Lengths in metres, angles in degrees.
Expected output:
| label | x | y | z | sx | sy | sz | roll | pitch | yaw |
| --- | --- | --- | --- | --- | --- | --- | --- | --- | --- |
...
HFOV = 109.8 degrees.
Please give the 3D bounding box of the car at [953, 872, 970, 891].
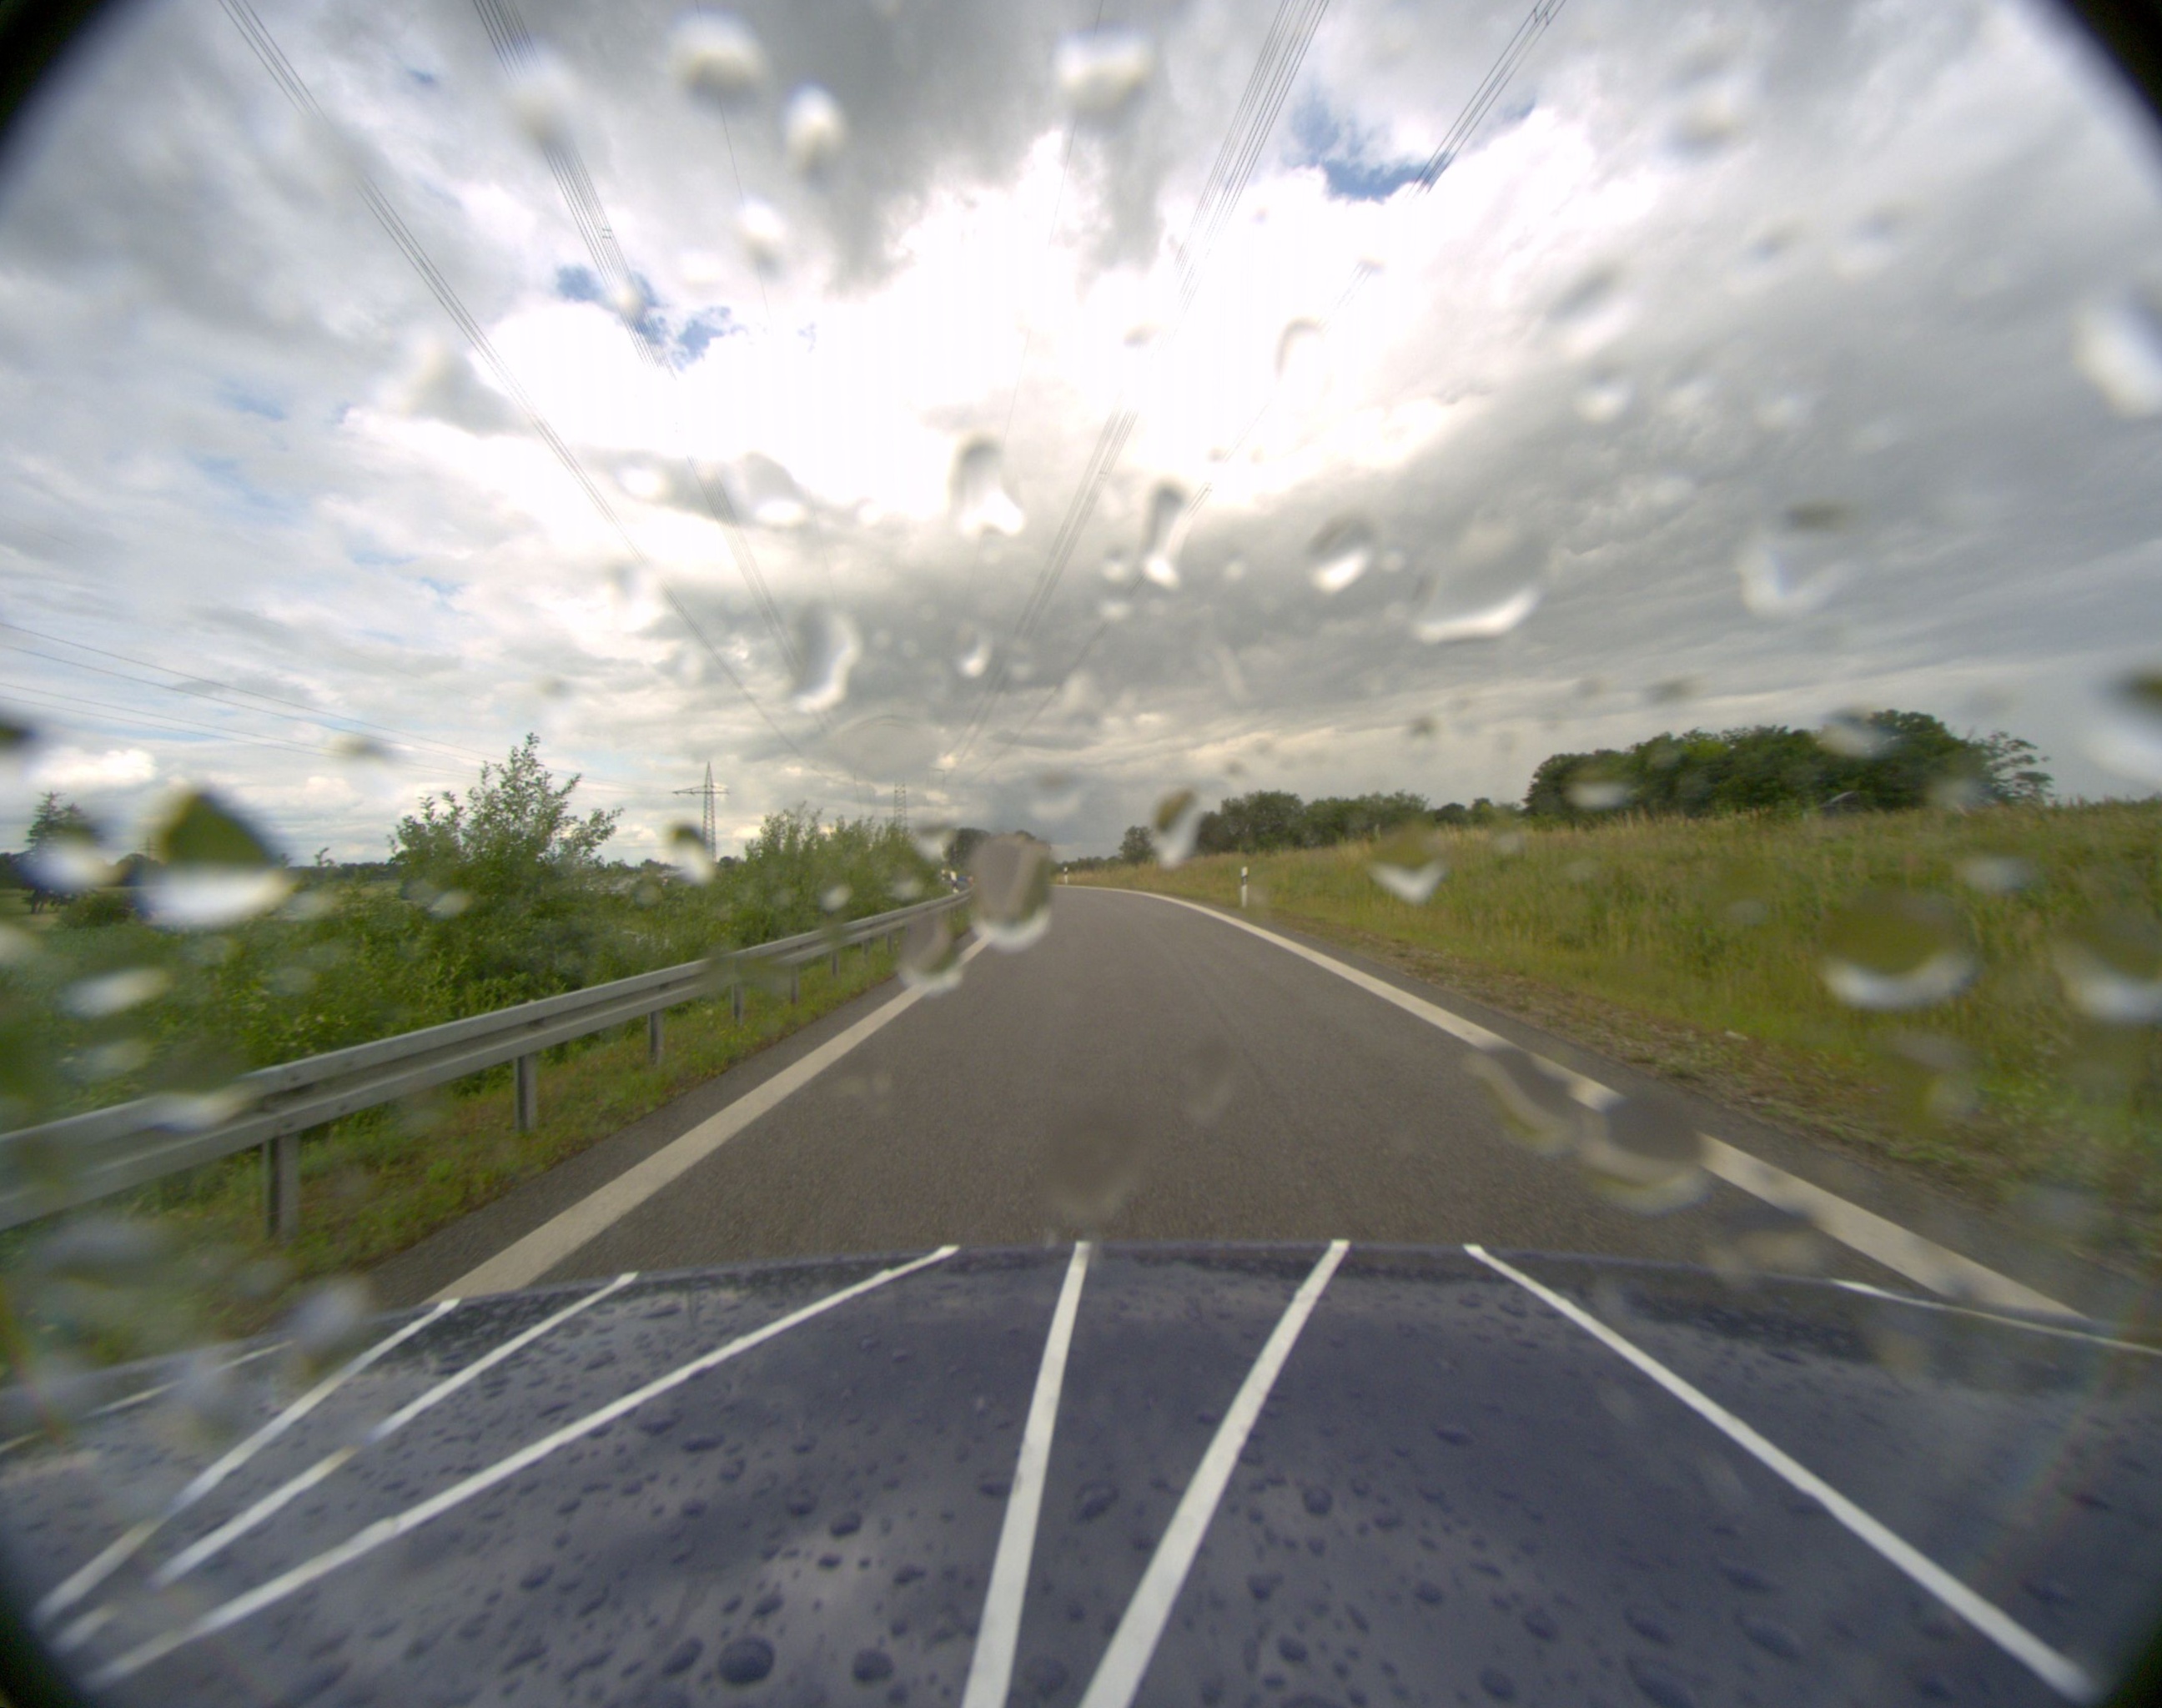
| label | x | y | z | sx | sy | sz | roll | pitch | yaw |
| --- | --- | --- | --- | --- | --- | --- | --- | --- | --- |
| car | -18.724 | 4.309 | 119.002 | 2.334 | 2.709 | 6.279 | -1 | -2 | -12 |
